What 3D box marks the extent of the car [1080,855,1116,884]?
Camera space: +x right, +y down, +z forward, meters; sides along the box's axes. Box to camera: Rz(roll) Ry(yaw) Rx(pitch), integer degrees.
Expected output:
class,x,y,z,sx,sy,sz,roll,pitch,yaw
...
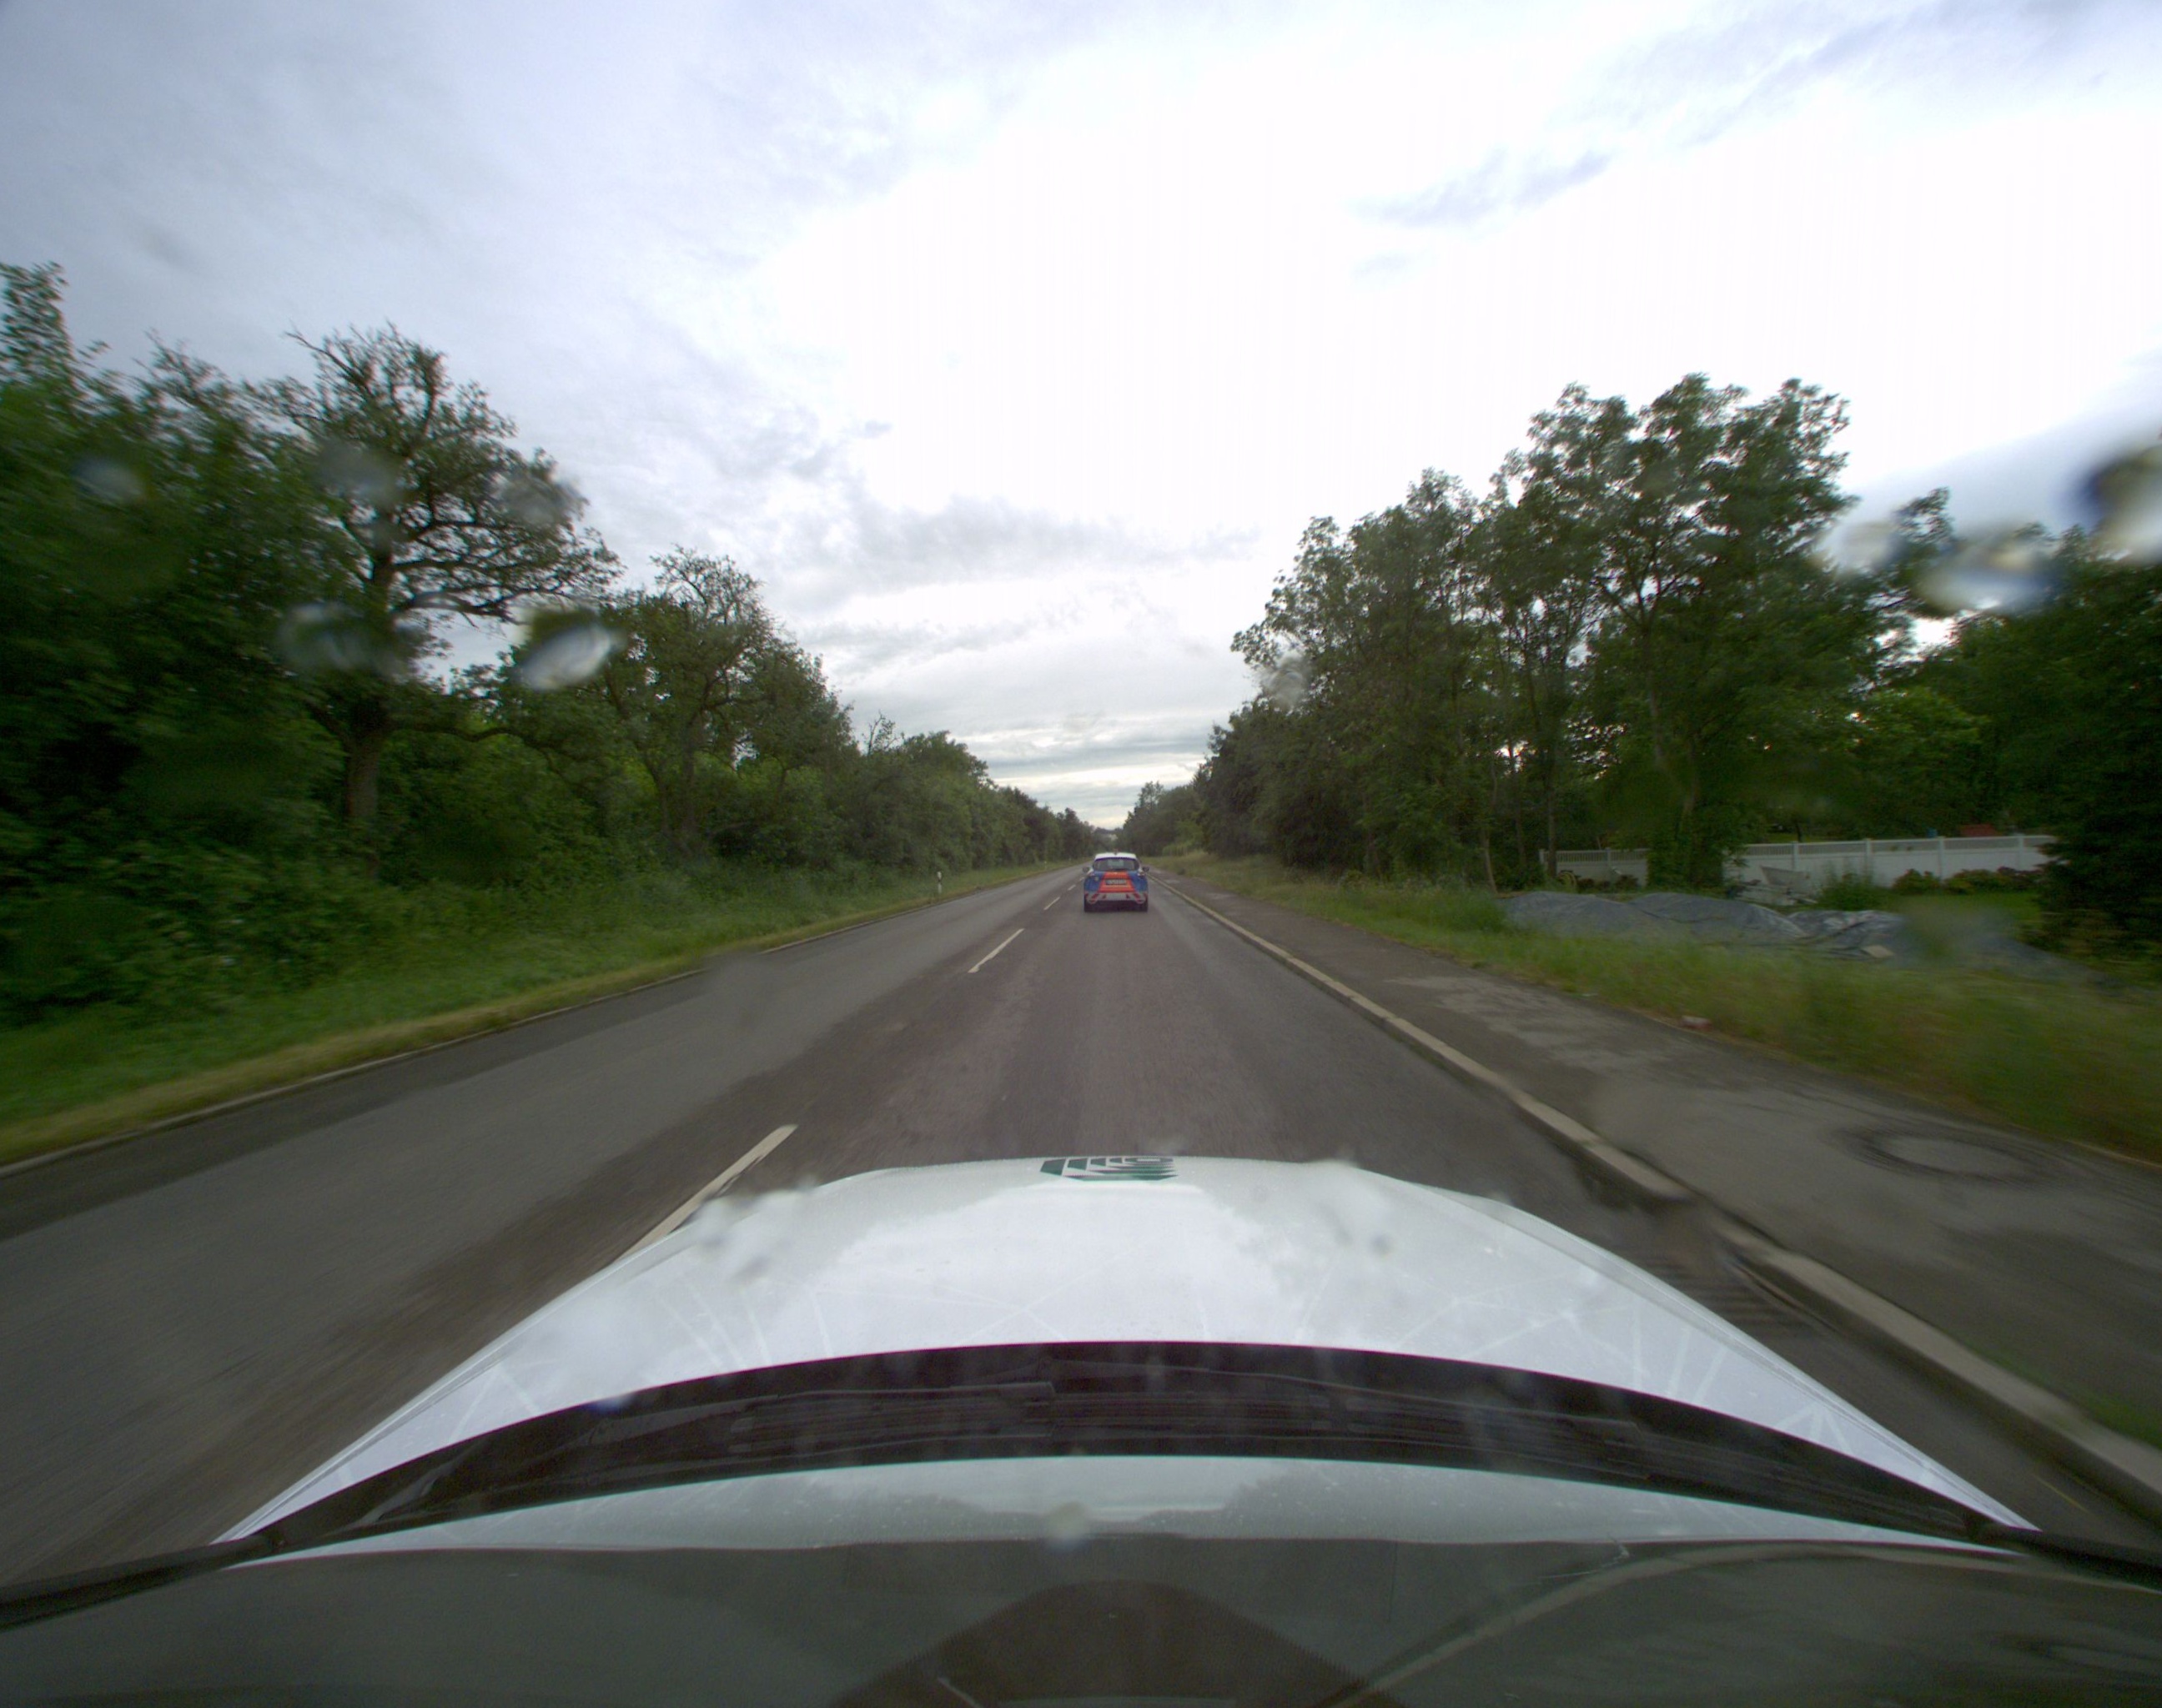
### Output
class,x,y,z,sx,sy,sz,roll,pitch,yaw
car,0.882,0.724,40.268,1.592,1.287,3.478,-2,0,3

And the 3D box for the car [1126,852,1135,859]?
class,x,y,z,sx,sy,sz,roll,pitch,yaw
car,11.559,0.364,189.930,1.985,1.376,4.003,-2,0,3

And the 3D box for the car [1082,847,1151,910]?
class,x,y,z,sx,sy,sz,roll,pitch,yaw
car,0.976,0.616,22.801,1.745,1.555,3.794,-1,1,2
